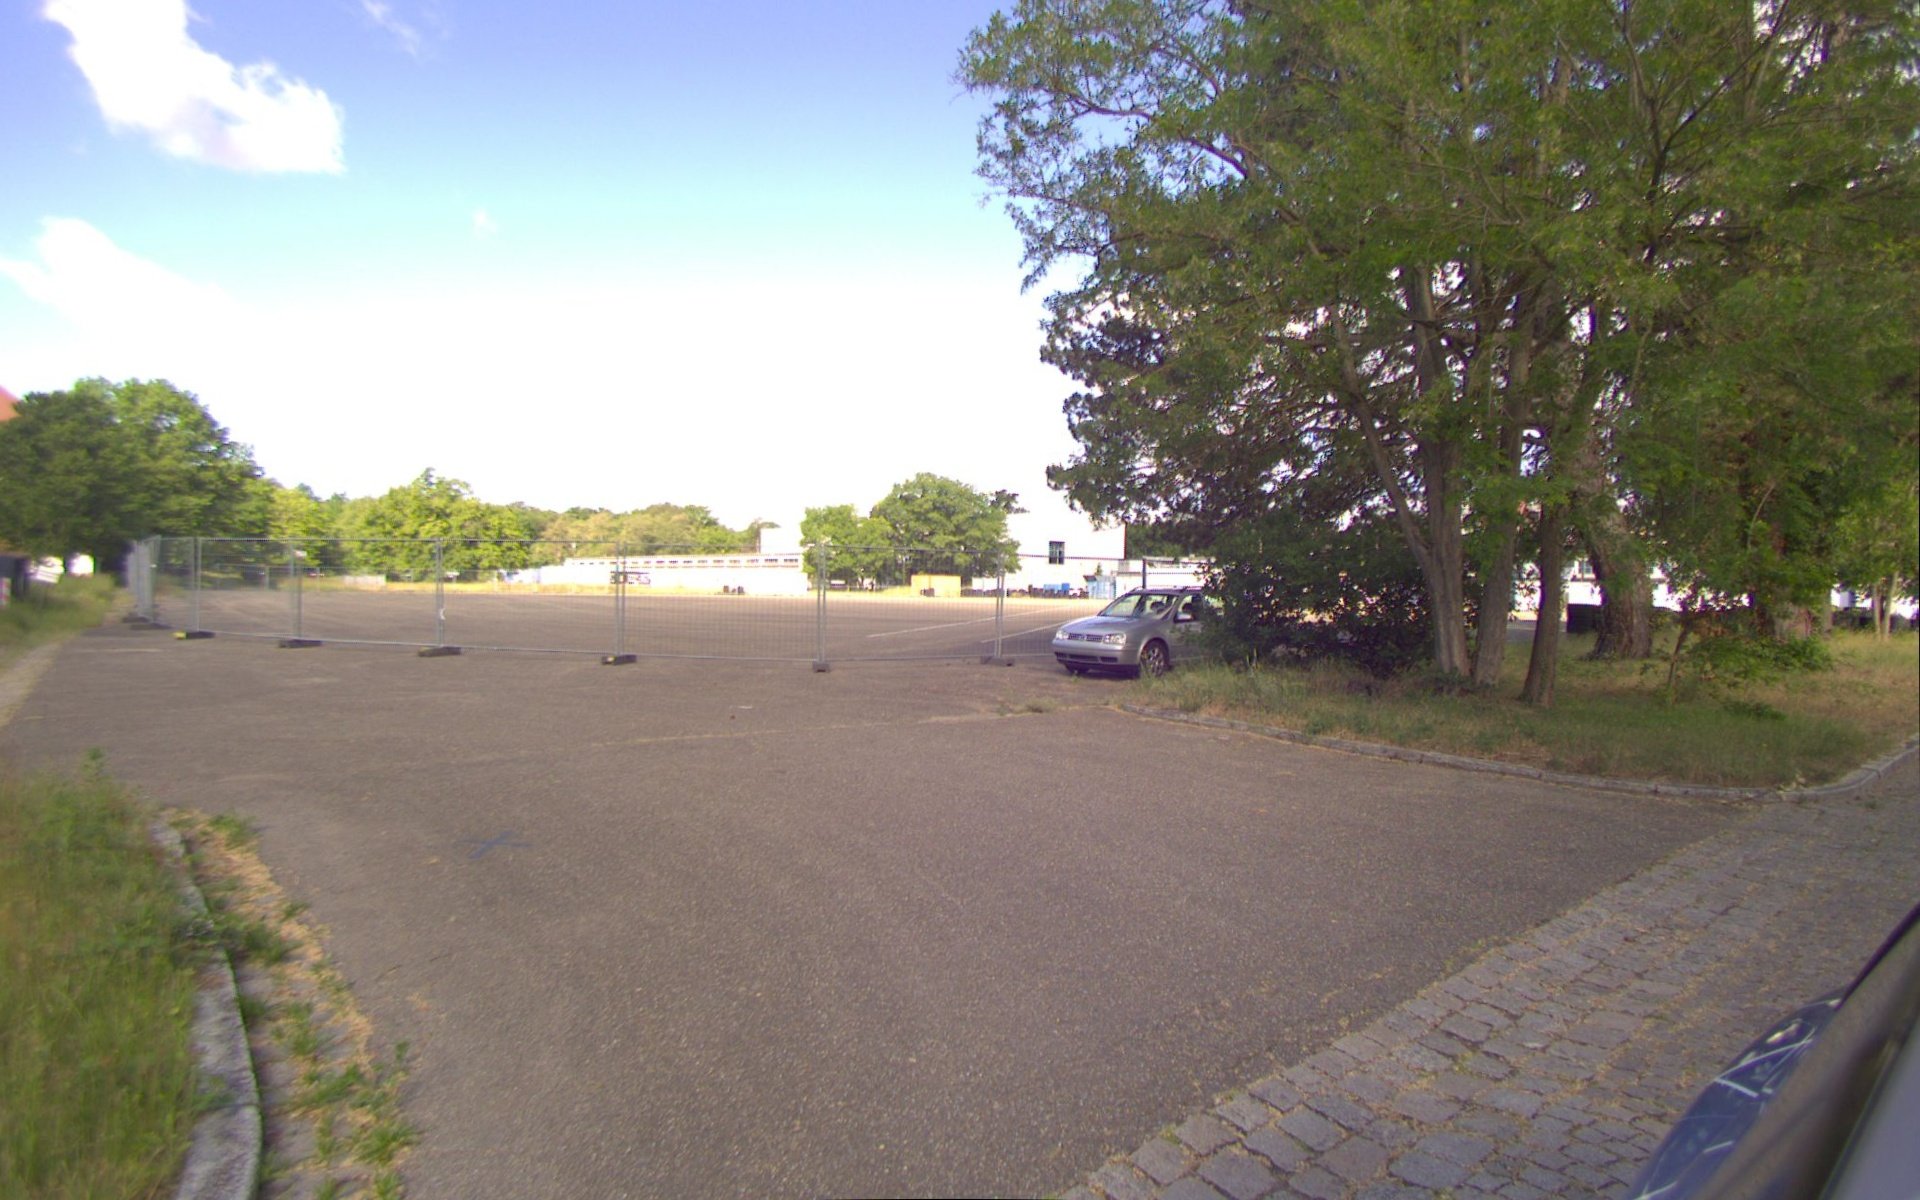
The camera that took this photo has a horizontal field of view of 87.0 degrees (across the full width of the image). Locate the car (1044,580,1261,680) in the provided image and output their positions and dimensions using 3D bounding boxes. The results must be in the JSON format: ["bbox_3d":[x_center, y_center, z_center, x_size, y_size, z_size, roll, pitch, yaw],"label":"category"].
[{"bbox_3d":[3.310,0.429,16.947,3.920,1.462,1.576,0,1,-44],"label":"car"}]
